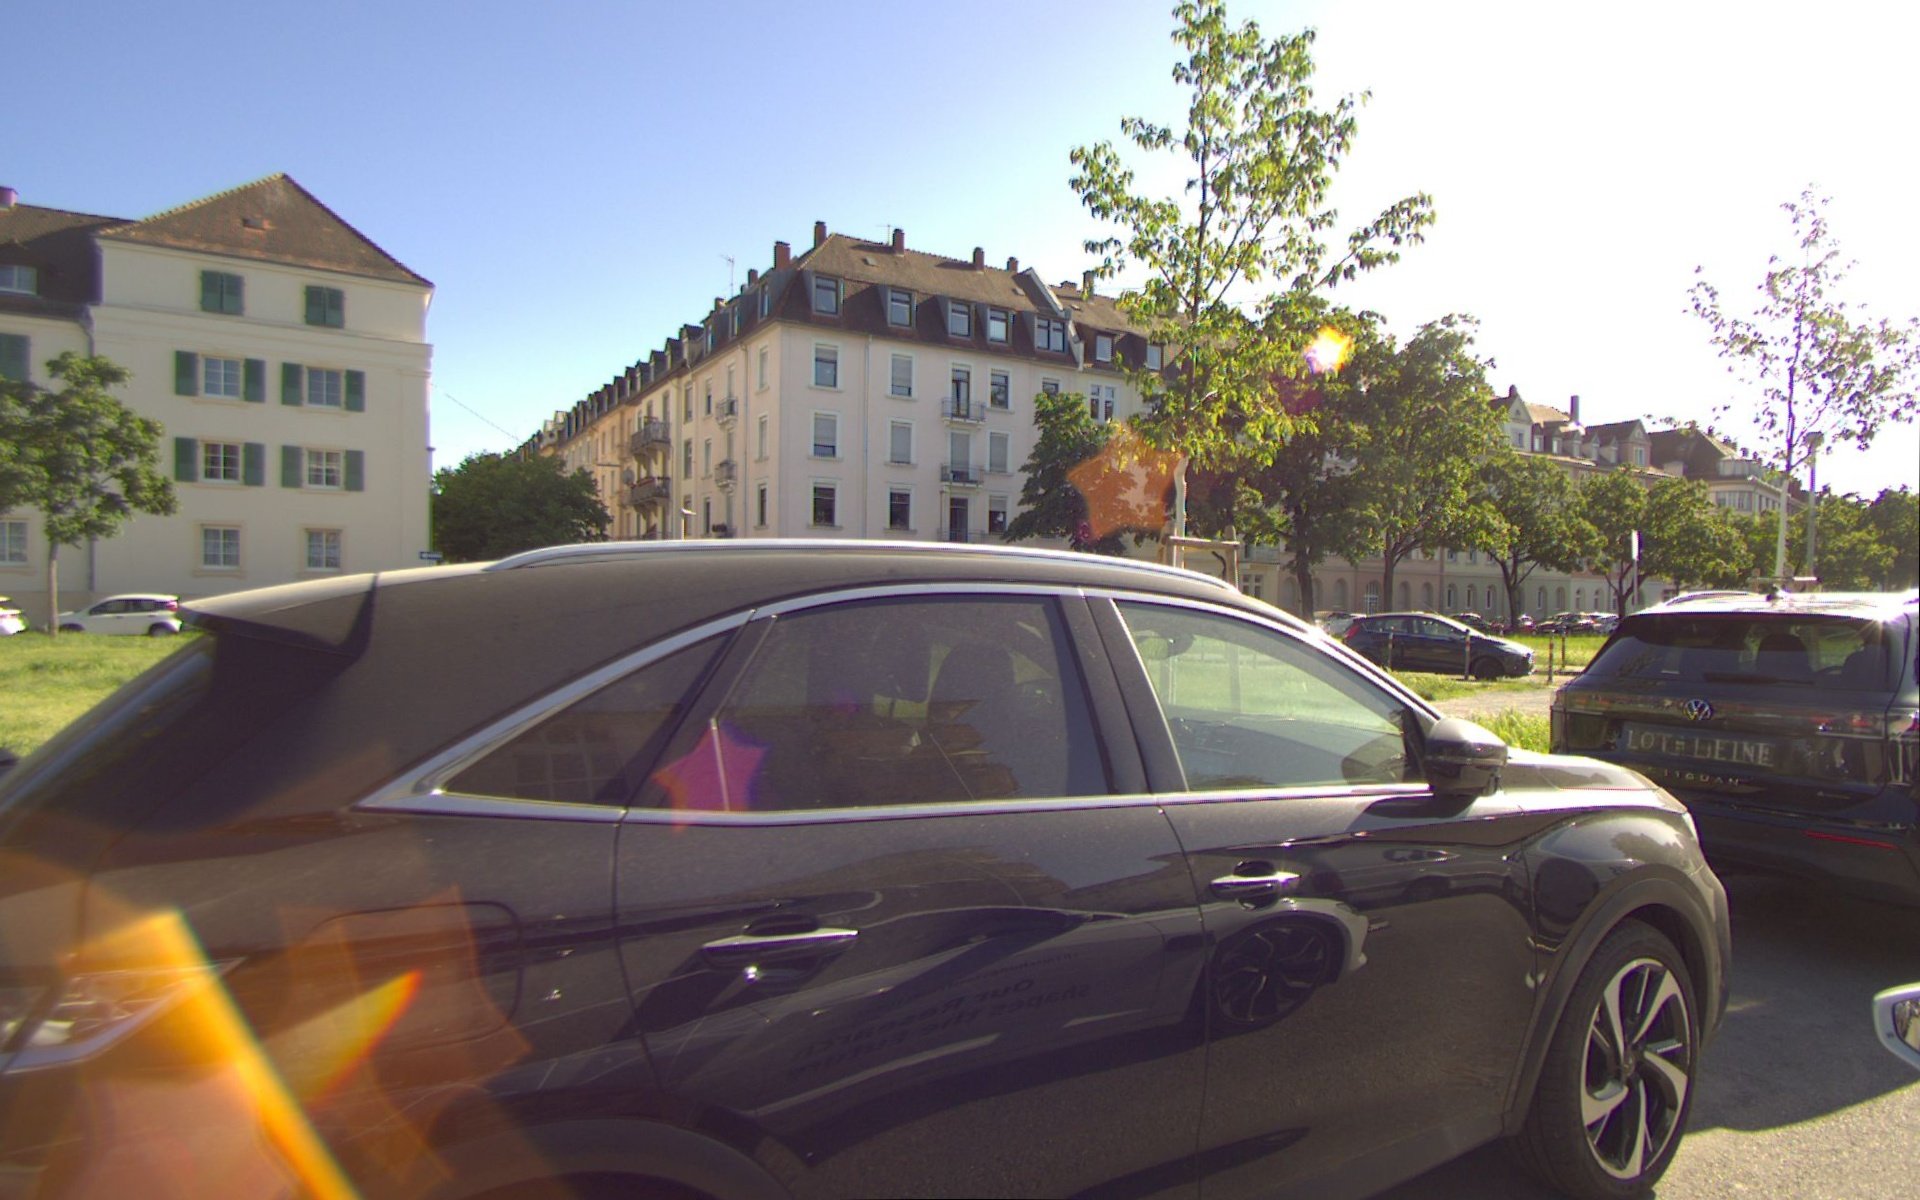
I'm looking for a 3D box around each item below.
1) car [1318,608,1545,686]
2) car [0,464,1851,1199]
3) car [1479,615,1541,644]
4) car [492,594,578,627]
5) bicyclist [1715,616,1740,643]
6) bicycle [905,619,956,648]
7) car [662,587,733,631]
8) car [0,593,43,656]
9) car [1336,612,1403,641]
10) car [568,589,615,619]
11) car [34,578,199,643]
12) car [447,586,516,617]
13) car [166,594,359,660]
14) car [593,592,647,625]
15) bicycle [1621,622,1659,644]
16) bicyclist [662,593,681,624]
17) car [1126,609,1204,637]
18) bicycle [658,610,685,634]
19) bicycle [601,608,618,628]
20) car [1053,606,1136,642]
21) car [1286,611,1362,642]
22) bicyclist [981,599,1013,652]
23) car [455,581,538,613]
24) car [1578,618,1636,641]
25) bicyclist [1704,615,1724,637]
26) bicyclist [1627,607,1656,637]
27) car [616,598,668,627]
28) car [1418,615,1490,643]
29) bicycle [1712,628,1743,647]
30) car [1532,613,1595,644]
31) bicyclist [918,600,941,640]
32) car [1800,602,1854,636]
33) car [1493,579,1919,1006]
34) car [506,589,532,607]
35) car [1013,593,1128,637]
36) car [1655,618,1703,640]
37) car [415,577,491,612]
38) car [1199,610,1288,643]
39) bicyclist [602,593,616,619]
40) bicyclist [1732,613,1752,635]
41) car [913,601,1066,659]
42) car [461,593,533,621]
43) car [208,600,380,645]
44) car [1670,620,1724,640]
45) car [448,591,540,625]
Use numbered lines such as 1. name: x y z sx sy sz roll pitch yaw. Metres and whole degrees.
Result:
1. car: 10.418 0.966 22.330 4.278 1.428 1.913 1 2 37
2. car: 0.220 0.730 2.673 4.682 1.631 1.811 1 -2 -30
3. car: 34.098 1.817 62.289 4.036 1.709 1.622 1 0 -32
4. car: -20.531 0.517 48.513 3.625 1.541 1.699 1 0 -31
5. bicyclist: 53.213 2.030 69.626 1.433 1.862 0.937 2 -1 -31
6. bicycle: -1.346 1.529 46.020 2.231 1.279 0.837 1 0 -30
7. car: -12.921 0.412 49.281 2.117 2.040 4.536 1 0 -32
8. car: -31.745 0.726 30.685 5.097 1.911 2.143 1 0 -30
9. car: 26.093 1.690 64.044 3.949 1.724 1.839 1 0 -27
10. car: -25.737 0.259 70.068 2.130 2.009 4.867 1 0 -32
11. car: -27.605 0.362 33.029 3.851 2.040 1.657 1 0 -30
12. car: -29.726 0.109 62.430 3.673 1.859 1.938 1 0 -34
13. car: -20.982 0.794 30.501 4.651 1.844 2.147 1 0 -31
14. car: -21.179 0.499 62.453 1.979 2.000 5.005 1 0 -34
15. bicycle: 42.926 2.061 63.398 2.602 1.269 0.807 3 0 -28
16. bicyclist: -13.199 0.396 45.890 0.616 1.382 0.870 1 0 -31
17. car: 9.832 1.099 48.100 3.487 1.296 1.685 1 0 -32
18. bicycle: -13.195 0.994 45.881 0.651 1.030 1.964 1 0 -32
19. bicycle: -18.370 0.933 52.615 0.523 1.030 1.474 1 0 -32
20. car: 7.140 1.262 53.253 4.004 1.775 1.985 1 0 -29
21. car: 19.514 1.413 53.804 4.036 1.547 1.685 1 0 -32
22. bicyclist: 1.230 0.844 33.260 0.863 1.713 0.631 0 0 26
23. car: -23.183 -0.134 50.235 3.577 1.541 1.693 1 0 -34
24. car: 43.769 1.996 67.935 3.727 1.448 1.687 1 0 -29
25. bicyclist: 51.217 1.797 68.242 0.931 1.456 0.735 1 -3 -30
26. bicyclist: 43.069 1.405 63.467 1.432 1.862 0.937 2 -1 -29
27. car: -18.494 0.690 58.304 1.917 1.590 3.847 1 0 -33
28. car: 29.334 1.730 59.568 4.478 1.570 1.747 1 0 -32
29. bicycle: 53.224 2.610 69.654 2.604 1.269 0.806 2 1 -31
30. car: 39.250 1.838 65.317 4.411 1.933 1.727 1 0 -32
31. bicyclist: -1.393 0.904 45.964 0.792 1.827 0.670 1 0 -30
32. car: 73.993 1.632 85.720 5.562 2.780 1.905 1 0 -32
33. car: 5.366 0.803 5.799 4.658 1.660 1.835 1 -2 -29
34. car: -42.919 -0.199 97.746 1.933 1.730 4.131 1 0 -29
35. car: 5.069 0.684 45.749 5.042 1.897 2.070 1 0 -32
36. car: 60.227 2.403 84.094 3.953 1.772 1.850 1 0 -31
37. car: -38.112 -0.378 75.571 4.904 2.553 1.938 1 0 -34
38. car: 14.353 1.326 50.755 4.645 1.582 1.685 1 0 -32
39. bicyclist: -18.404 0.315 52.672 0.528 1.382 0.778 1 0 -32
40. bicyclist: 52.179 1.592 67.014 0.931 1.456 0.734 2 -1 -30
41. car: 0.833 0.851 30.037 4.279 1.597 1.922 0 0 37
42. car: -26.849 0.396 58.257 3.577 1.541 1.843 1 0 -34
43. car: -23.332 0.789 35.452 4.900 1.504 1.984 1 -1 -30
44. car: 54.577 2.215 74.401 3.729 1.459 1.838 1 0 -29
45. car: -24.212 0.413 52.218 4.195 1.724 1.692 1 0 -32
